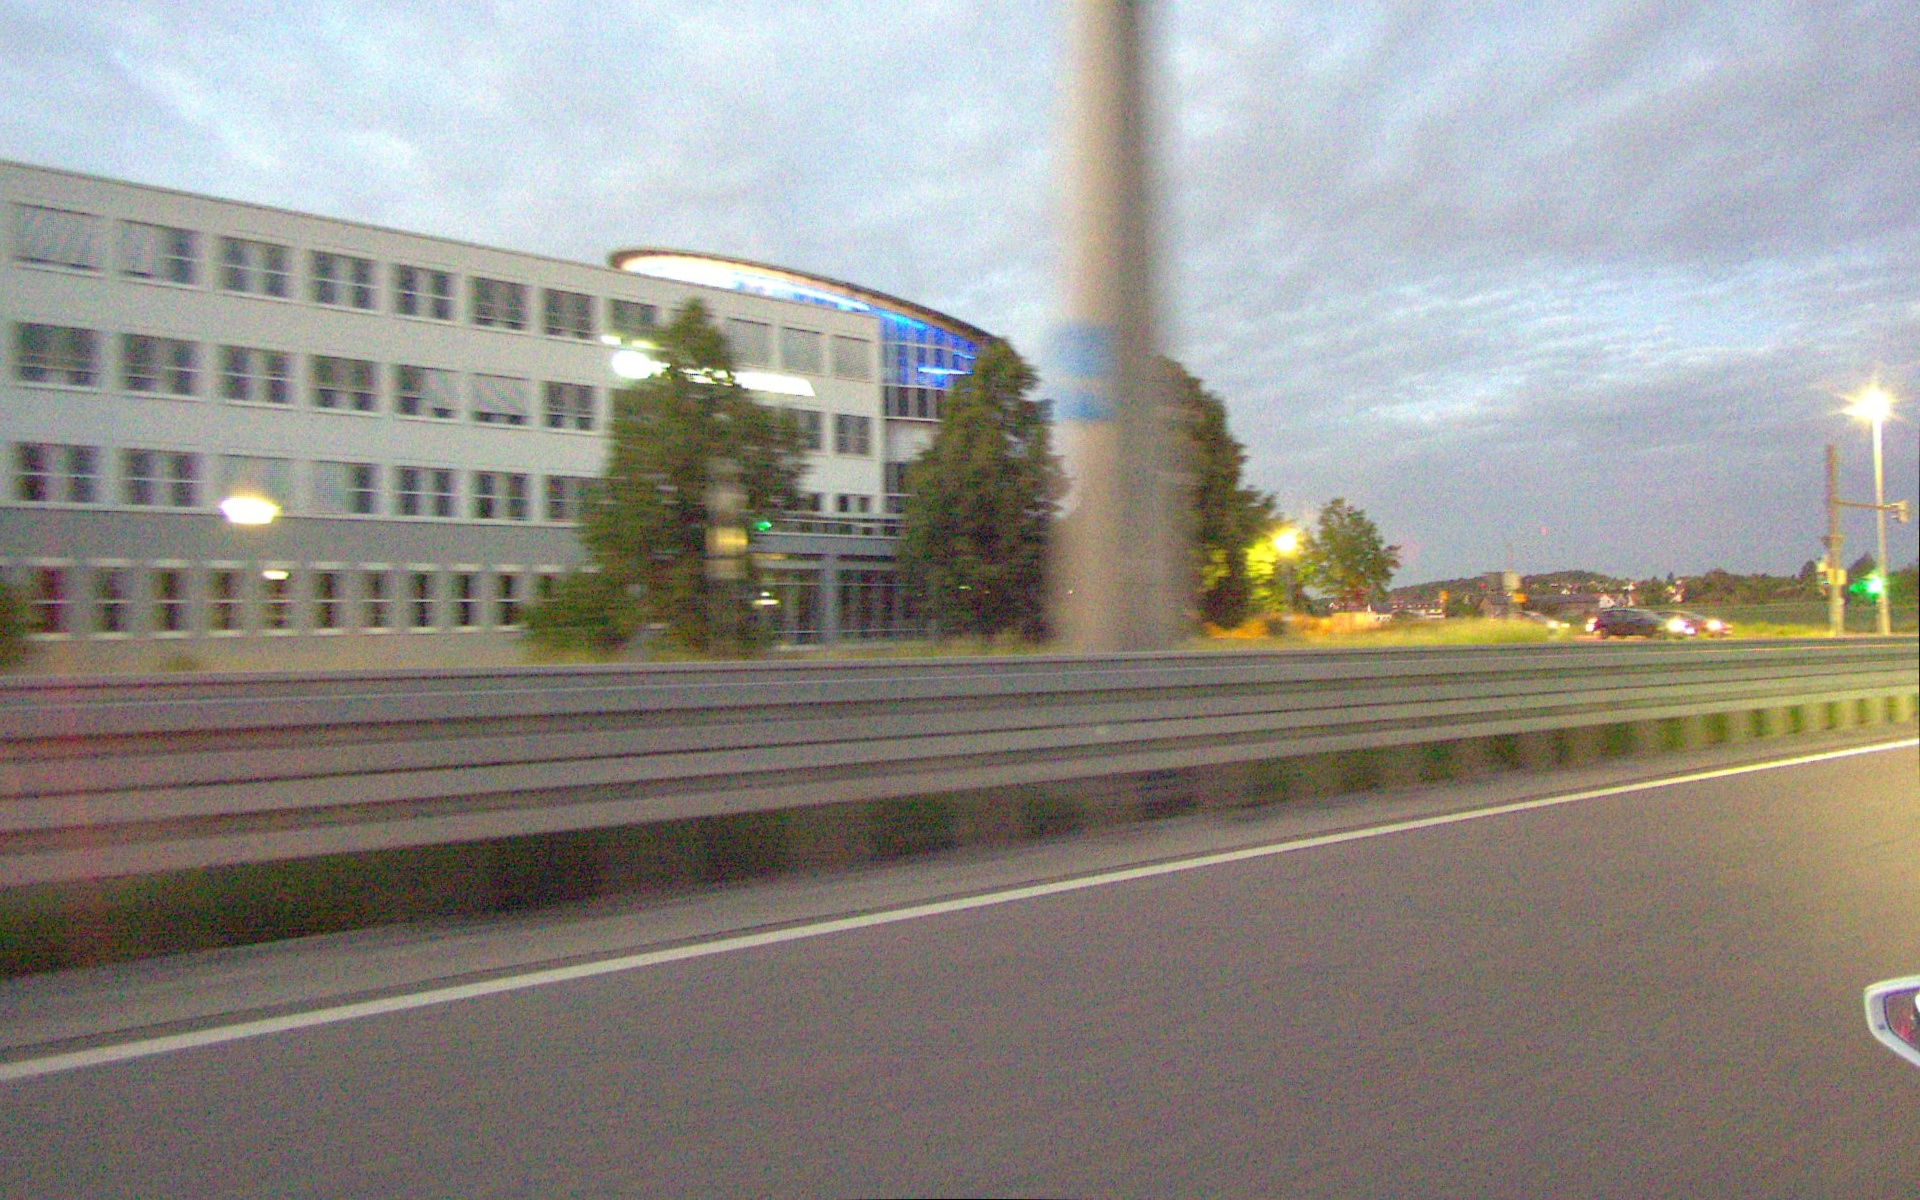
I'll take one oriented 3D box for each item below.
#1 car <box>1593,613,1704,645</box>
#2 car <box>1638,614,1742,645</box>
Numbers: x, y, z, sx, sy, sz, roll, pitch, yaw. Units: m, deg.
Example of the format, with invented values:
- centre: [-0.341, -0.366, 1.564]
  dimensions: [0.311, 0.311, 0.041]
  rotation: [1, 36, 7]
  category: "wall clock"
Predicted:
- centre: [34.522, 1.458, 50.488]
  dimensions: [1.708, 1.558, 4.296]
  rotation: [0, -2, -28]
  category: "car"
- centre: [37.740, 1.536, 52.049]
  dimensions: [1.709, 1.558, 4.022]
  rotation: [0, -2, -30]
  category: "car"
